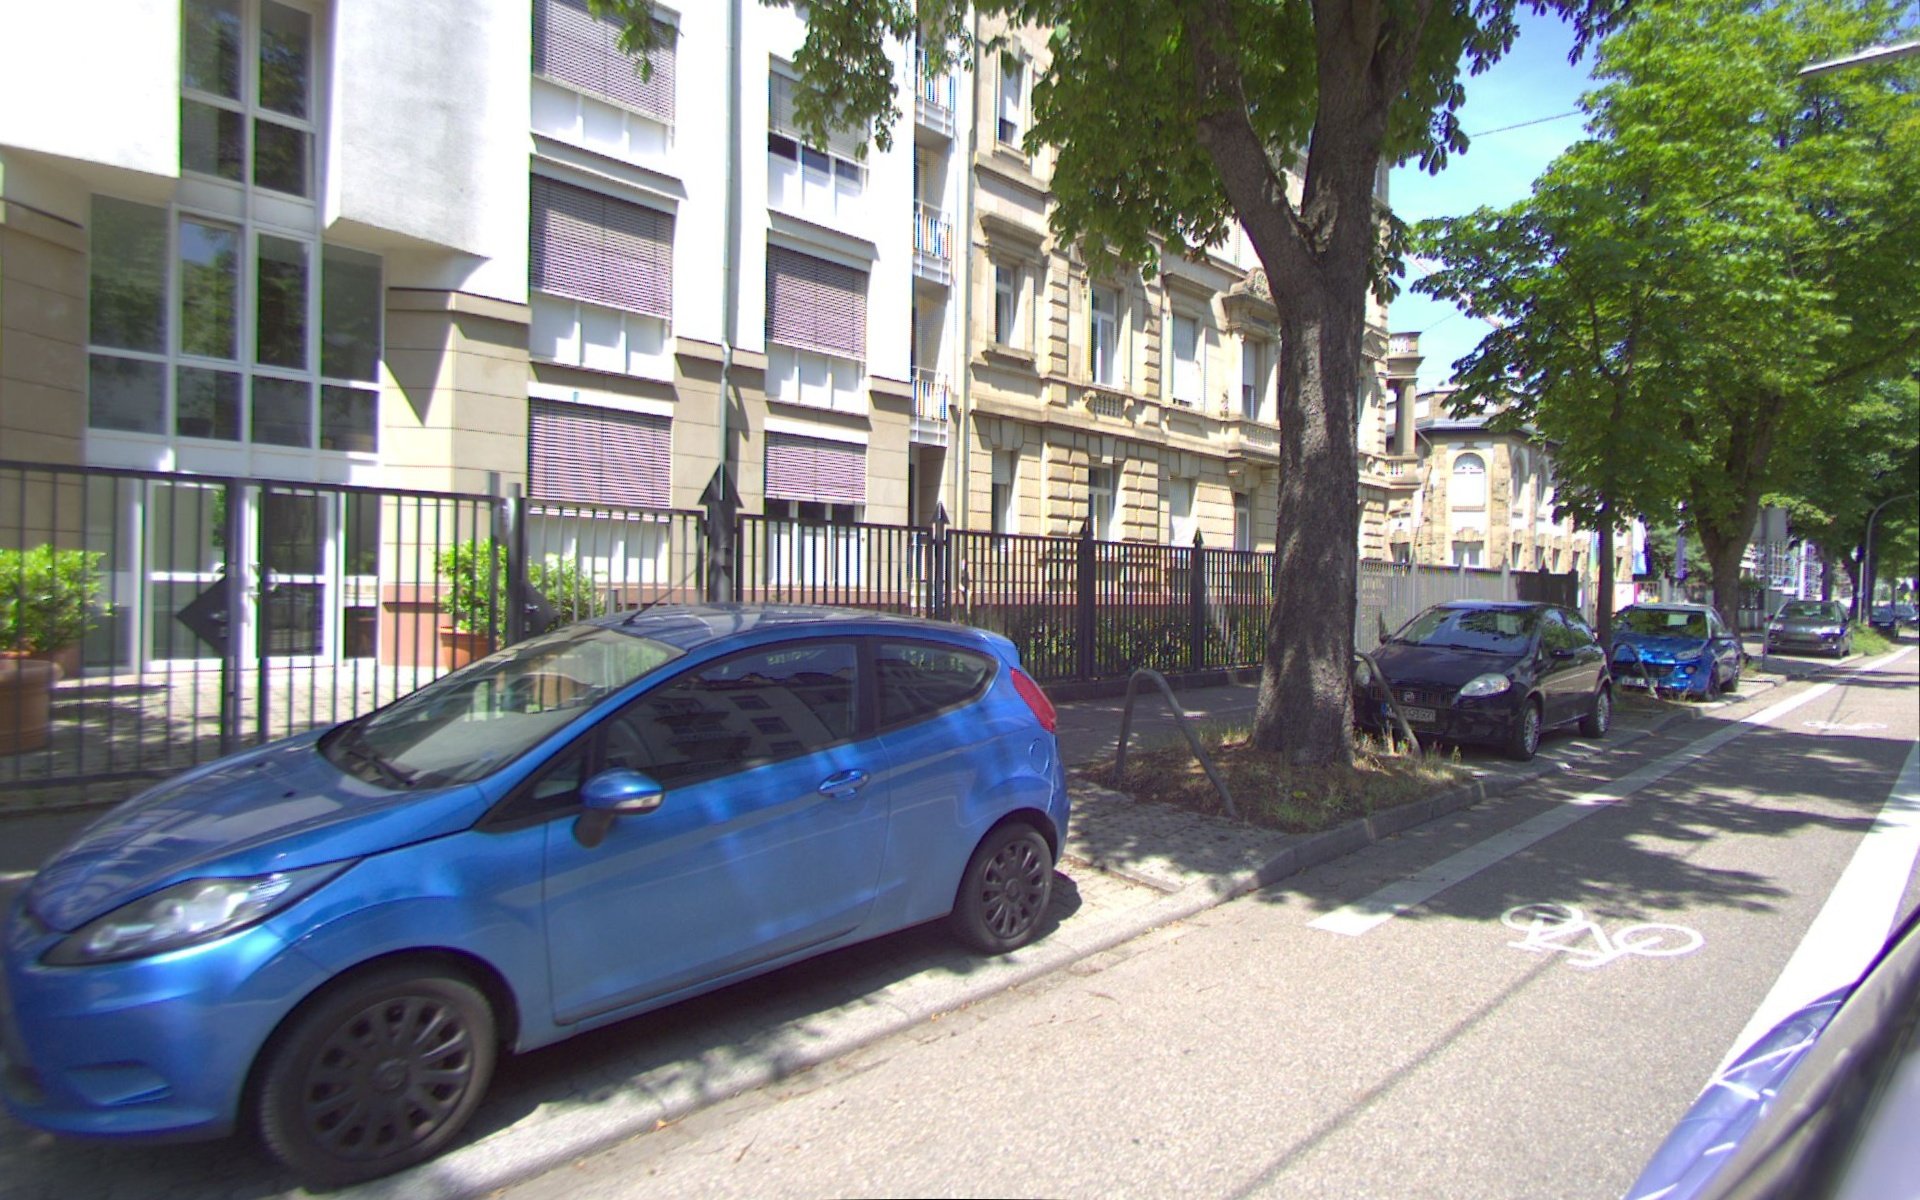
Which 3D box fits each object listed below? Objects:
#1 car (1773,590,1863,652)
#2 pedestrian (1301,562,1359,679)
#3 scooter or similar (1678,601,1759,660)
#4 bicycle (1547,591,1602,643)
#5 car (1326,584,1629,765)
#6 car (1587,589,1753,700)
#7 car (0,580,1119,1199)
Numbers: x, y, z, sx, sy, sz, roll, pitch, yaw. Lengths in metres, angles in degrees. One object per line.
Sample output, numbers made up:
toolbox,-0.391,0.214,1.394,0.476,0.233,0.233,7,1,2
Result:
car,25.000,0.580,29.432,4.048,1.616,1.644,1,1,-45
pedestrian,5.629,0.291,15.391,0.743,1.714,0.546,-1,1,-44
scooter or similar,16.291,0.644,21.765,1.368,1.247,0.371,-1,0,34
bicycle,15.481,0.412,25.486,2.084,1.240,0.687,-1,0,-45
car,5.587,0.614,10.727,3.854,1.515,1.679,-1,3,-44
car,11.664,0.625,16.540,3.525,1.515,1.611,-2,3,-45
car,-1.252,0.683,4.048,3.933,1.479,1.685,-1,3,-43
